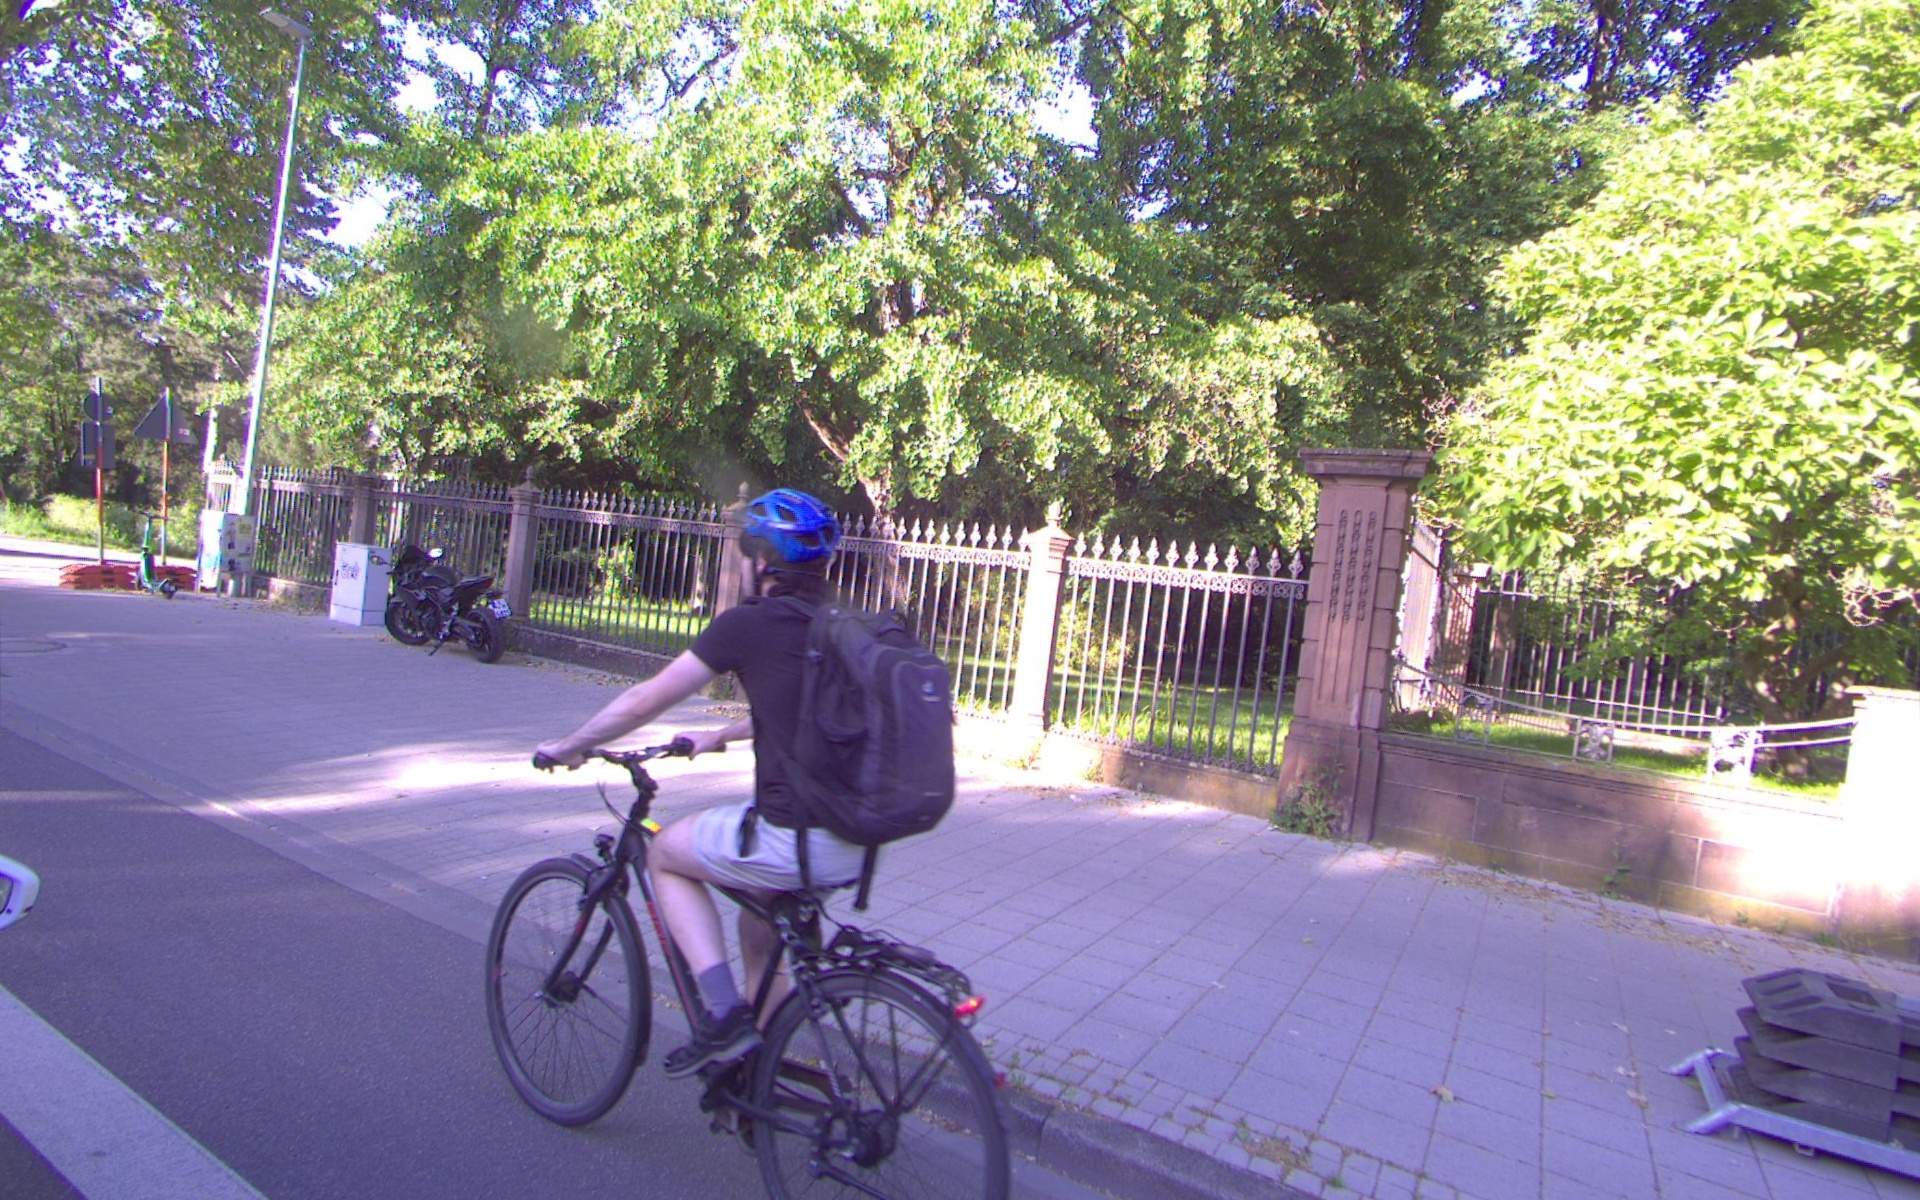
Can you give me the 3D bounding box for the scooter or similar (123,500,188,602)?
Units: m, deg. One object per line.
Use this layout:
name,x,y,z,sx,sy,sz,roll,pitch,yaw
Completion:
scooter or similar,-11.420,-0.705,14.270,1.152,1.344,0.228,7,2,30

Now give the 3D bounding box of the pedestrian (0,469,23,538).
pedestrian,-25.750,-2.612,26.768,0.817,1.794,0.819,7,1,25

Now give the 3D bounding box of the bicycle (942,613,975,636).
bicycle,-0.087,1.291,52.735,1.591,1.026,0.475,8,-1,4

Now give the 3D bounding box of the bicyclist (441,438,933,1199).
bicyclist,-0.643,0.494,2.471,0.709,1.621,0.666,7,-1,30

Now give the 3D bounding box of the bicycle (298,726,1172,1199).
bicycle,-0.641,0.990,2.429,2.046,1.021,0.670,7,-1,30

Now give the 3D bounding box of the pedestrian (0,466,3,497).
pedestrian,-25.534,-2.651,26.167,0.635,1.794,0.617,7,2,25

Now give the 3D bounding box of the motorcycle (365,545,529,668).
motorcycle,-5.781,0.048,11.287,2.134,1.146,0.506,7,2,30
